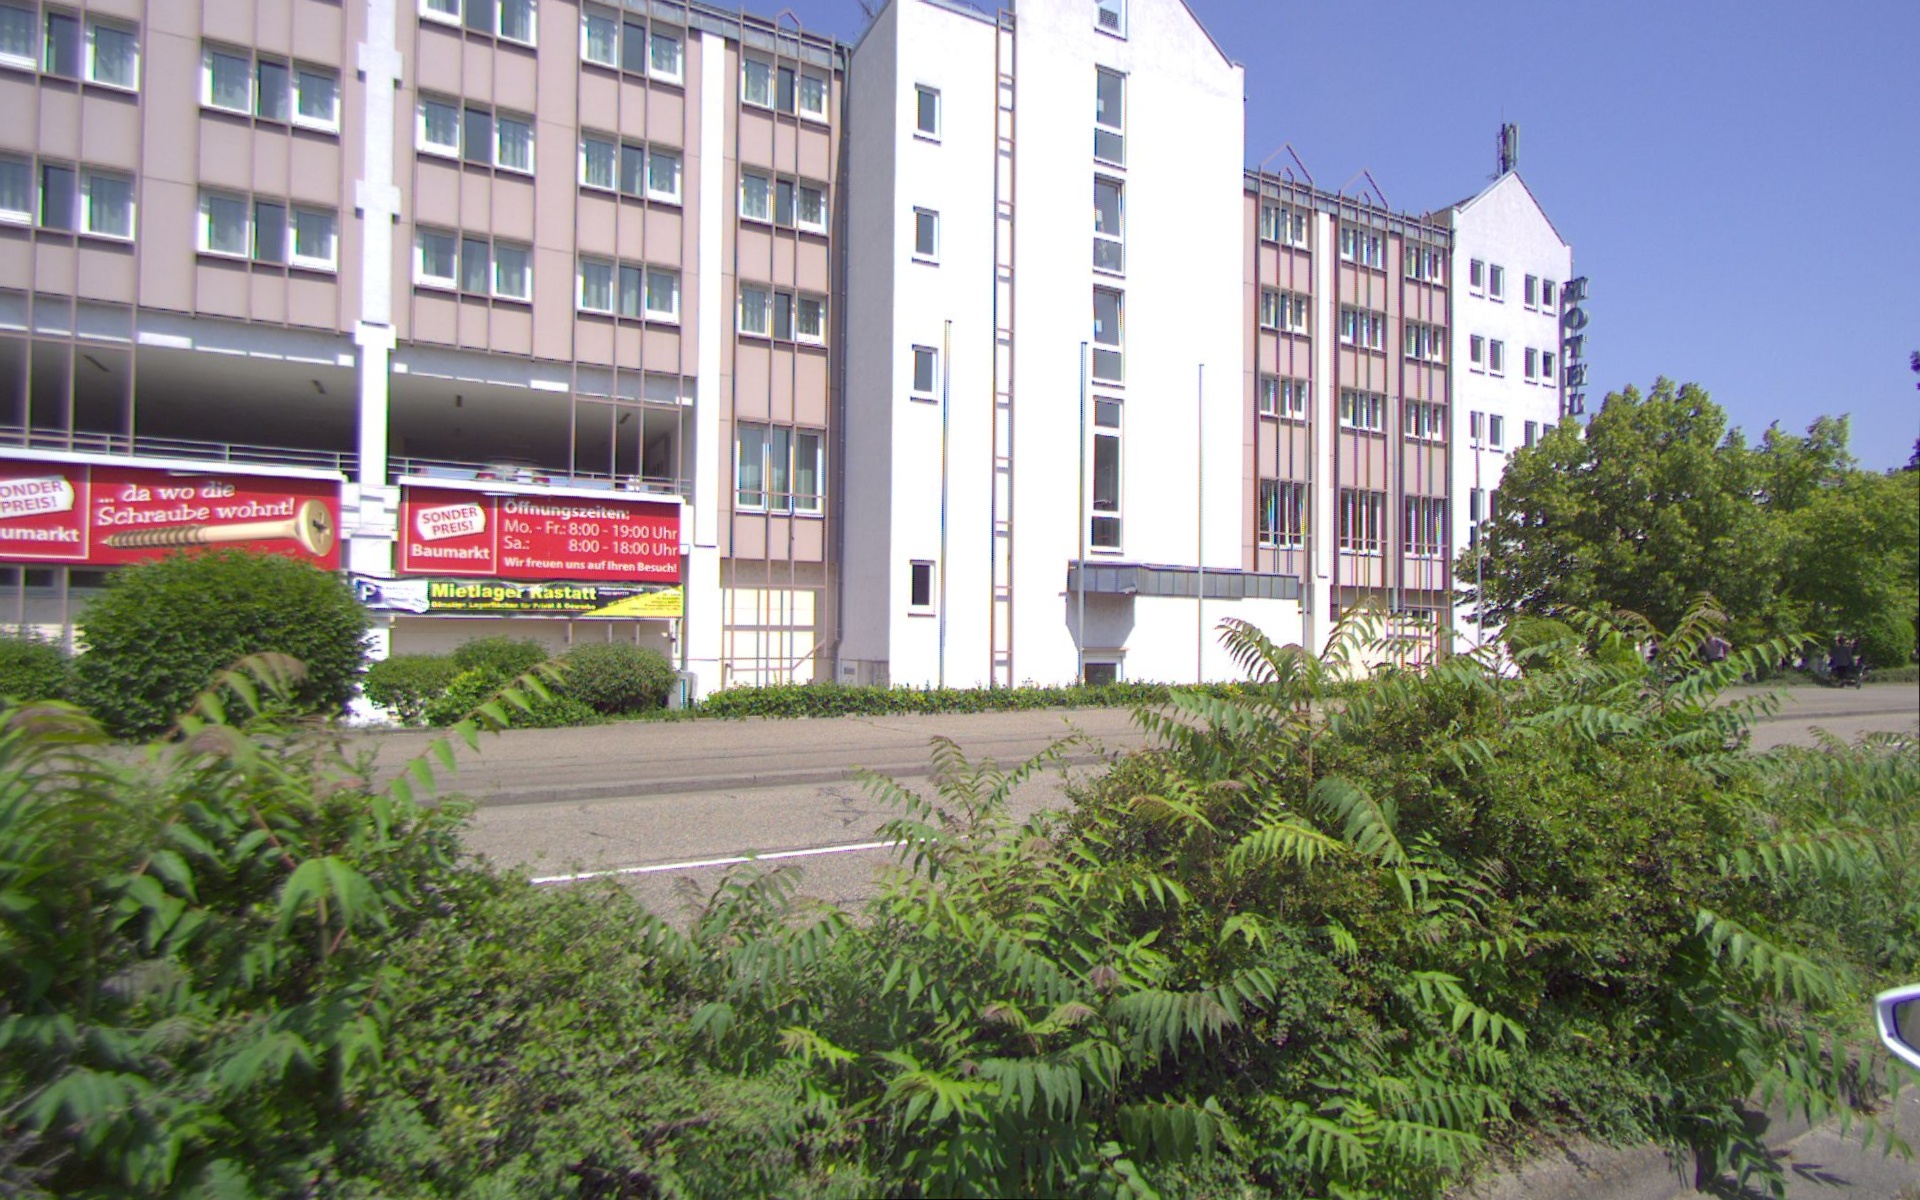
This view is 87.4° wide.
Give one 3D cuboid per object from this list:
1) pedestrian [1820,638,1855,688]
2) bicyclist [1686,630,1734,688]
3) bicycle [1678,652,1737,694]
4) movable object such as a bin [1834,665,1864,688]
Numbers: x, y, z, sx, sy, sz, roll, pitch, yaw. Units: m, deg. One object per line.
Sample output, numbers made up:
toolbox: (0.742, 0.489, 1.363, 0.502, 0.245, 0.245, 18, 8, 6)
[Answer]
pedestrian: (28.225, 2.015, 32.319, 0.718, 1.565, 0.630, 2, -2, -28)
bicyclist: (20.204, 1.577, 27.063, 1.015, 1.536, 0.714, 2, -2, -31)
bicycle: (20.156, 1.960, 27.066, 2.039, 1.087, 0.548, 2, -1, -31)
movable object such as a bin: (28.023, 2.411, 31.660, 0.642, 0.714, 0.428, 2, -2, -19)
